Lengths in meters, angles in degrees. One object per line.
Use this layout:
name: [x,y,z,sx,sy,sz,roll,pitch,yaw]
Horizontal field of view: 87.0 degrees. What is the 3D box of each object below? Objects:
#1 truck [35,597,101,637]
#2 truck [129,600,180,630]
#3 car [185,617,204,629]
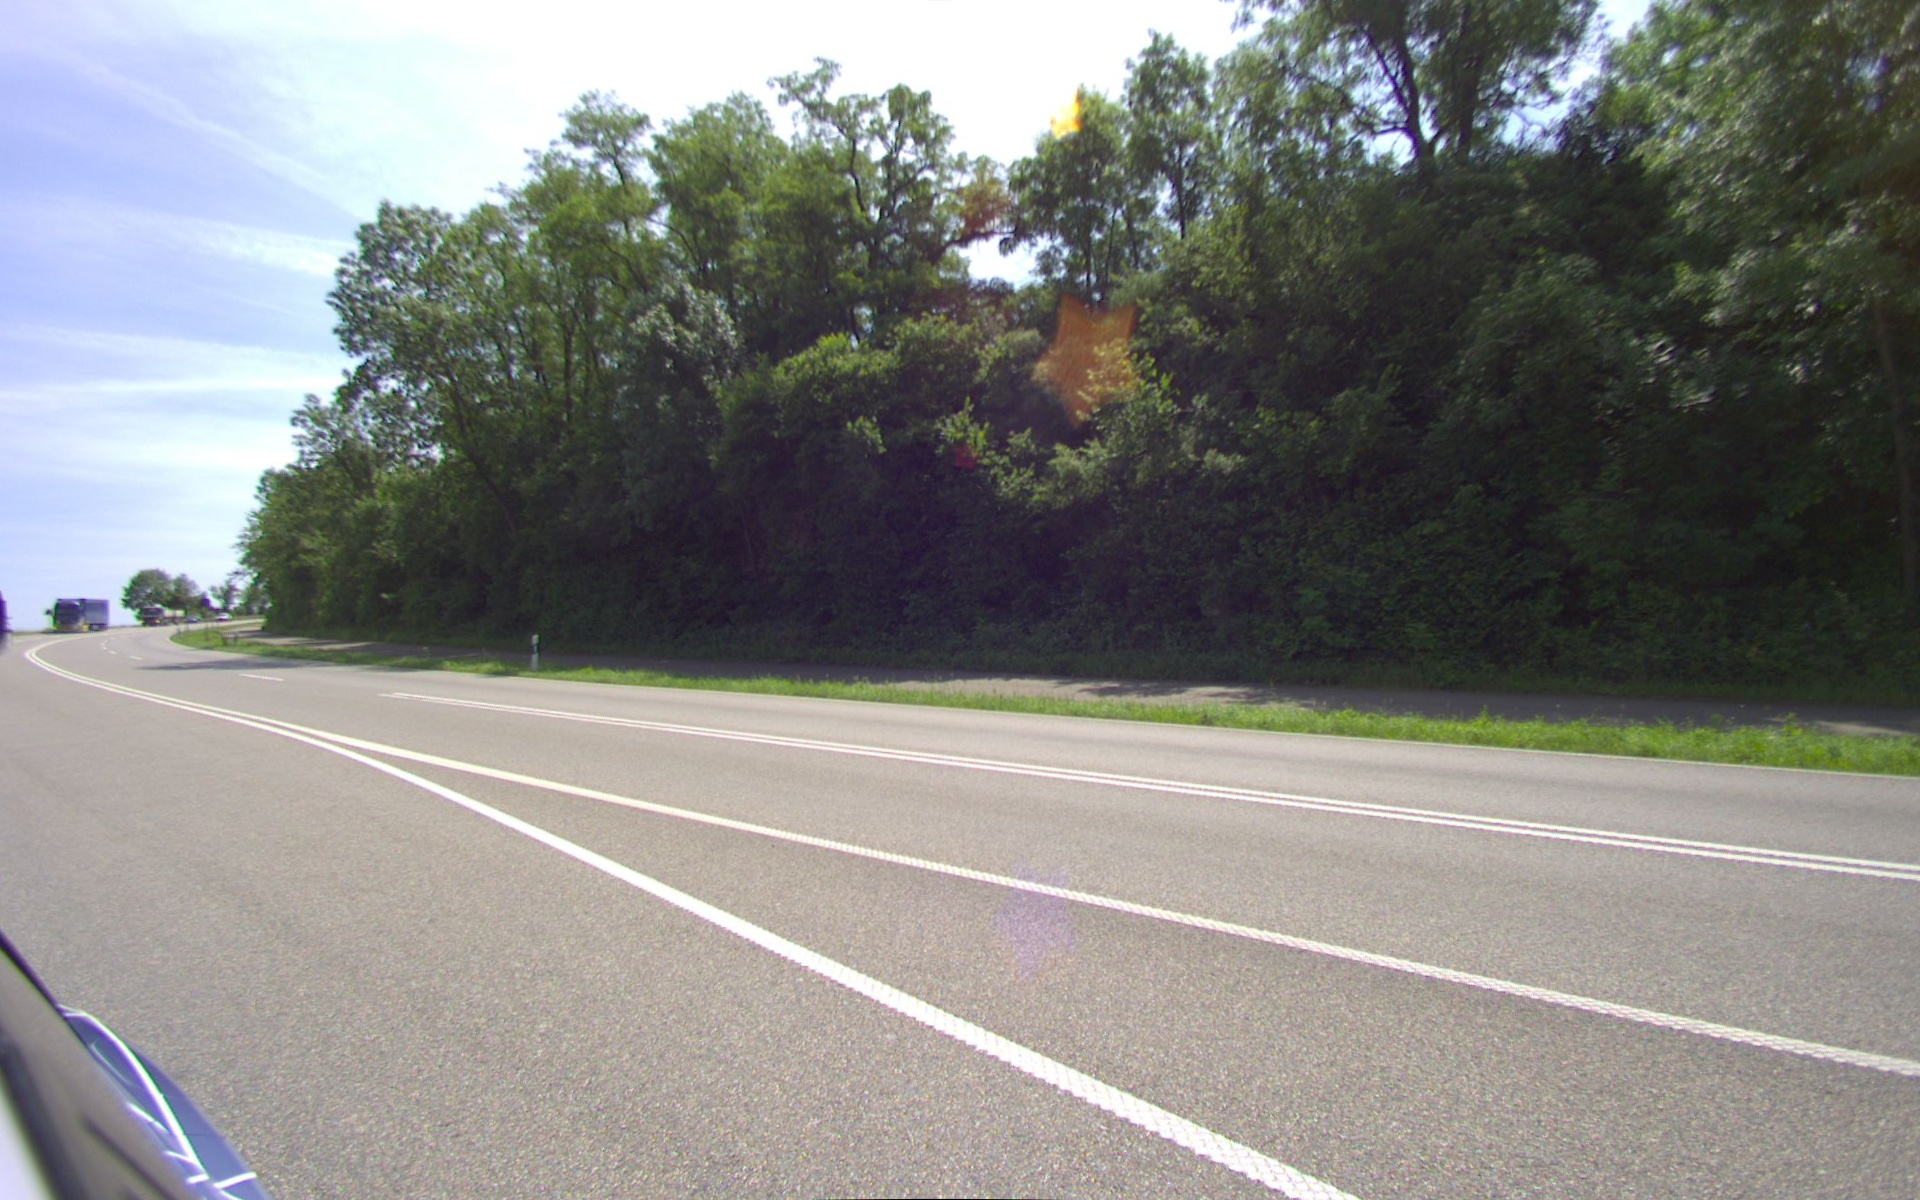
truck: [-106.153,2.058,120.707,4.328,4.493,14.748,-1,-1,-35]
truck: [-128.821,2.405,162.040,3.921,4.493,14.385,-1,-1,-28]
car: [-137.735,4.155,182.176,1.886,2.029,4.189,0,0,-25]
